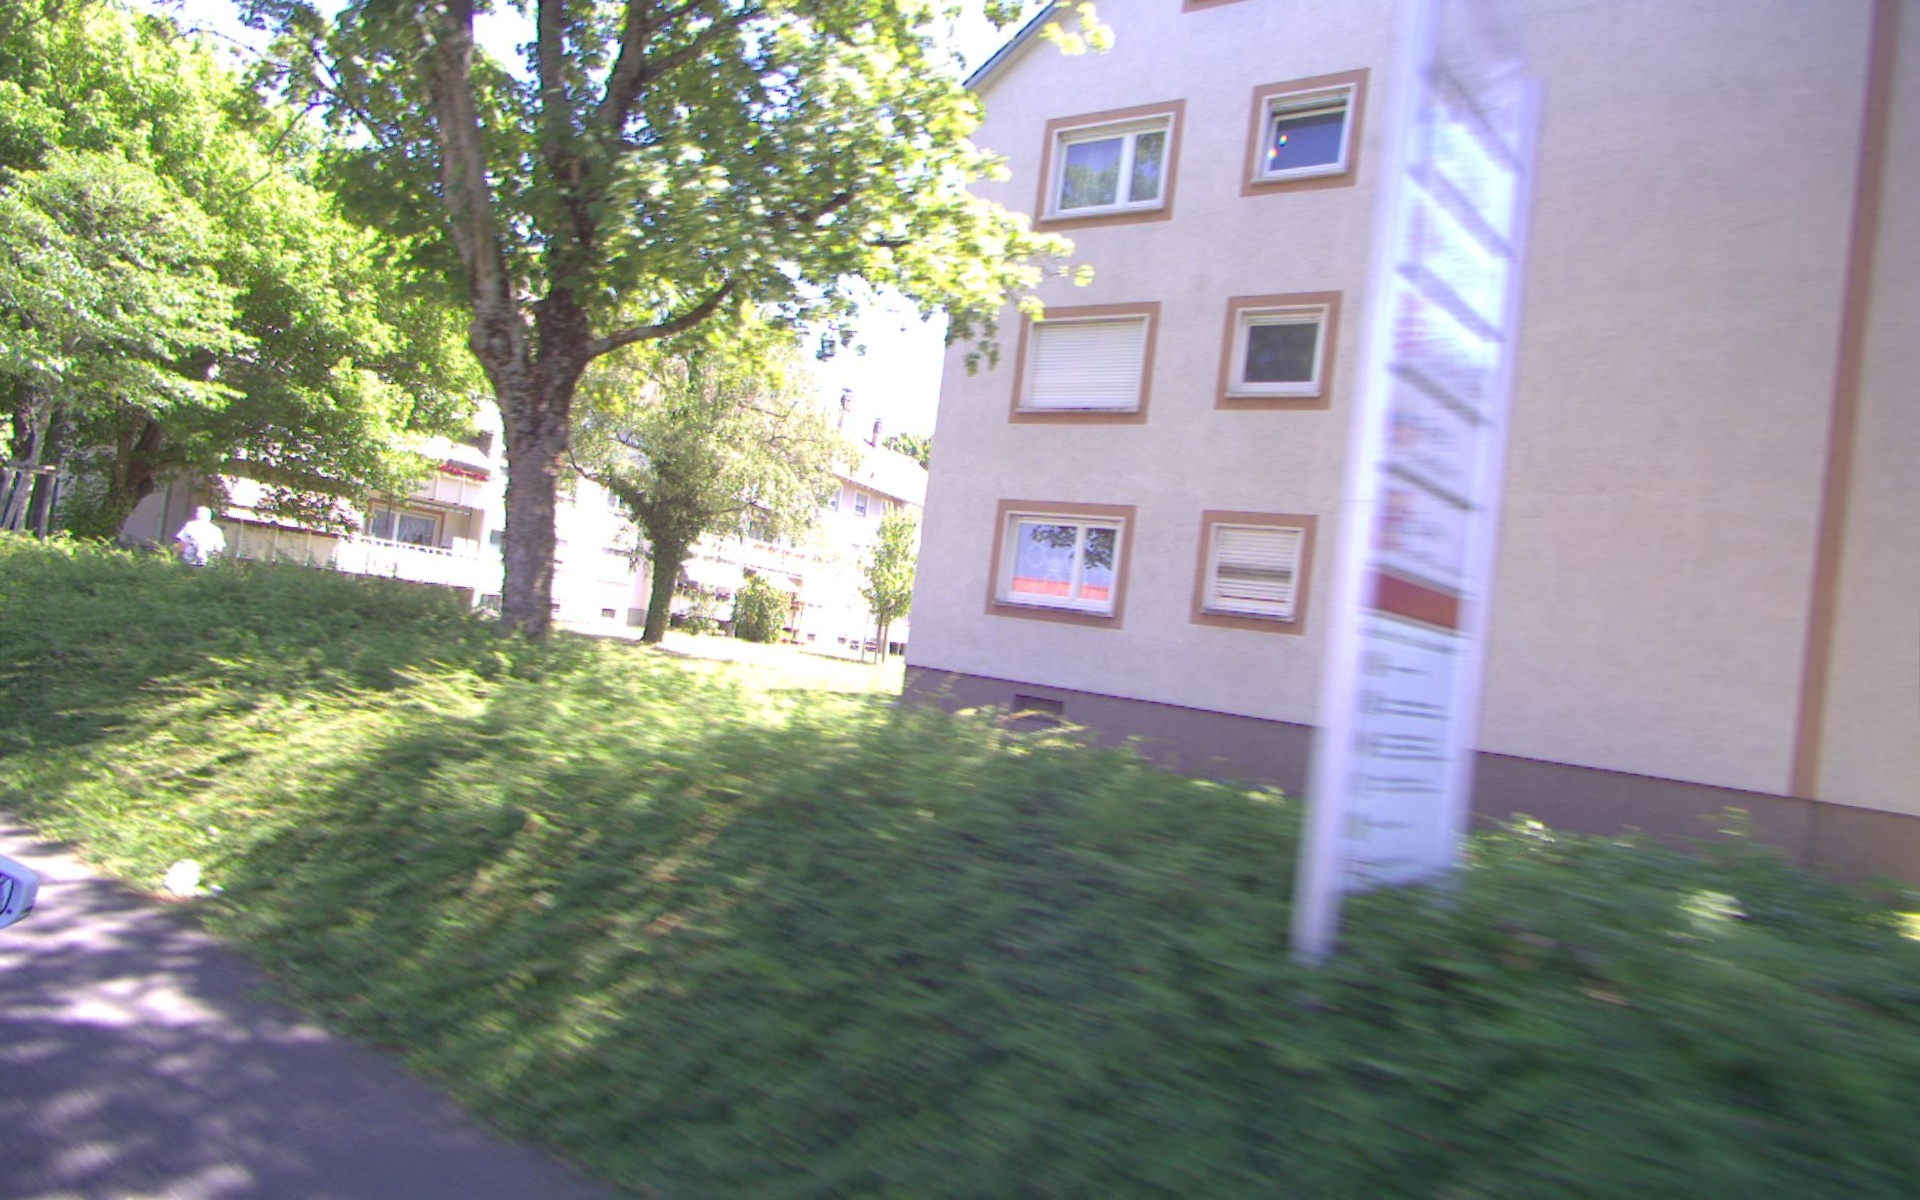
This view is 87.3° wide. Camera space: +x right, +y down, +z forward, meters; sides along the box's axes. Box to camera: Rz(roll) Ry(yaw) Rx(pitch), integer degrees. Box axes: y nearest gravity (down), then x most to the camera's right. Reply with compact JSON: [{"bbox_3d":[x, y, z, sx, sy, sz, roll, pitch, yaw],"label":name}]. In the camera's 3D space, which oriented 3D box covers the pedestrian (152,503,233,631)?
[{"bbox_3d":[-12.274,-0.526,16.091,0.650,1.937,0.704,6,-1,35],"label":"pedestrian"}]
